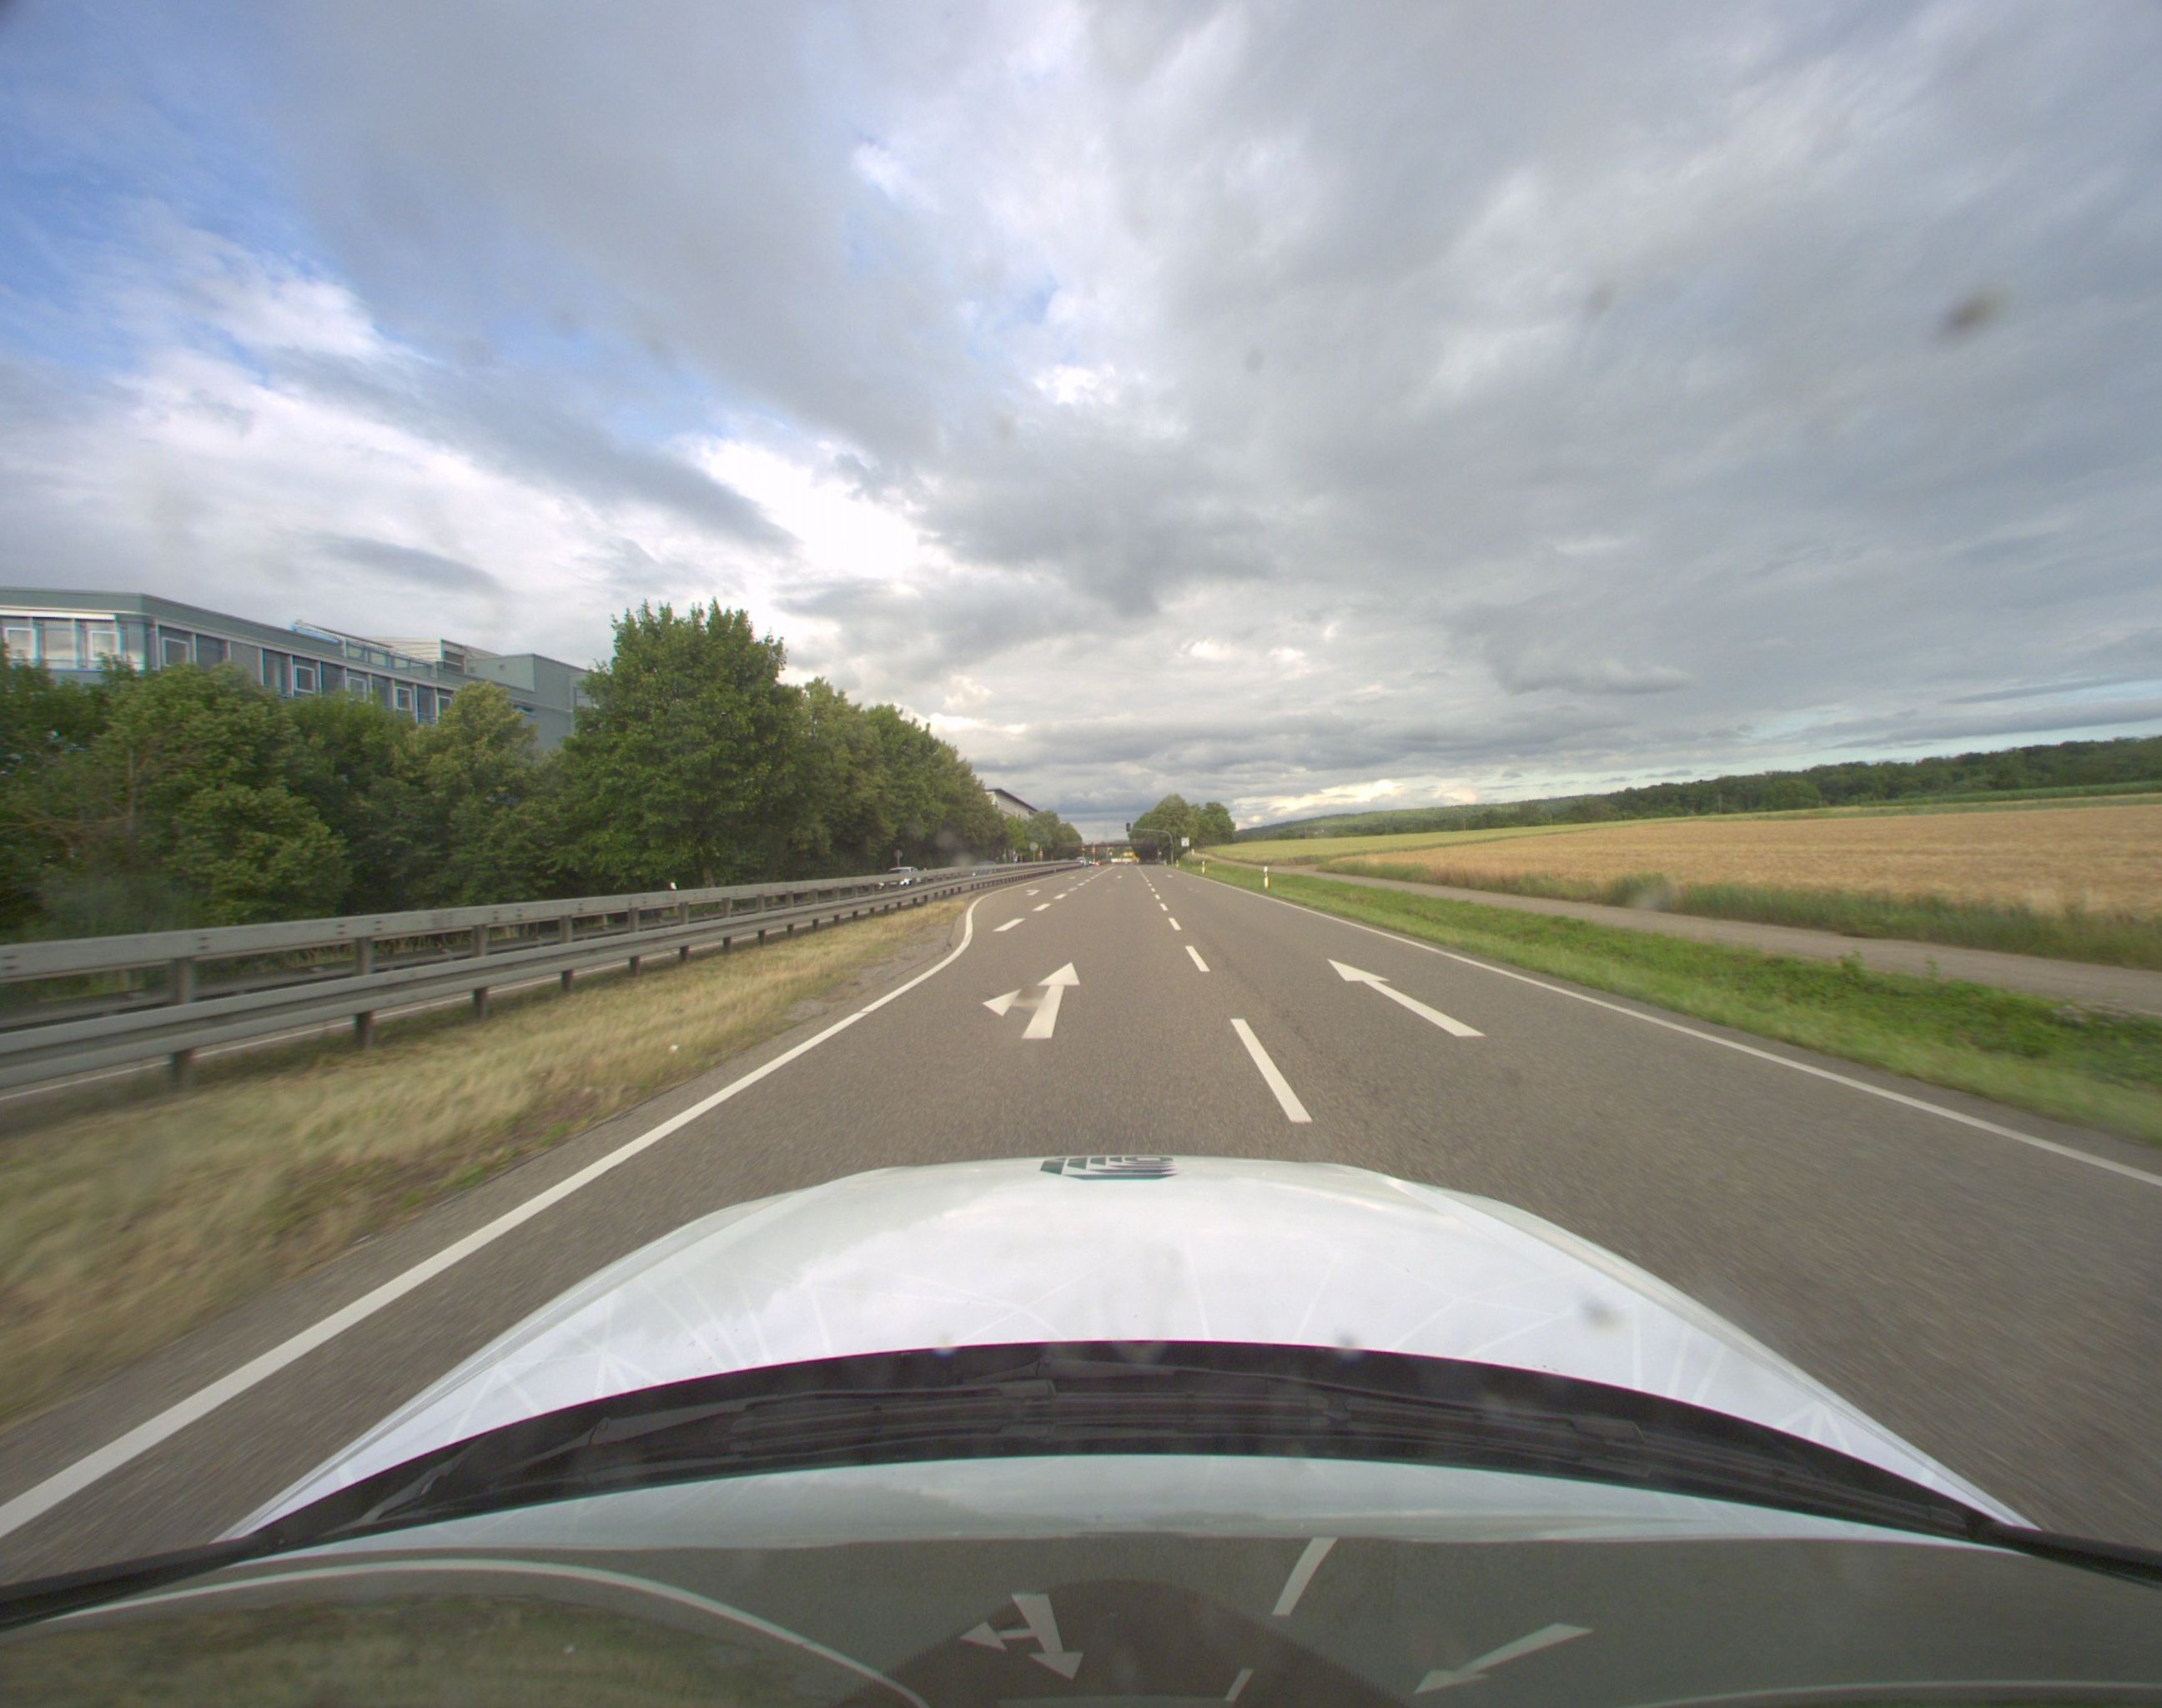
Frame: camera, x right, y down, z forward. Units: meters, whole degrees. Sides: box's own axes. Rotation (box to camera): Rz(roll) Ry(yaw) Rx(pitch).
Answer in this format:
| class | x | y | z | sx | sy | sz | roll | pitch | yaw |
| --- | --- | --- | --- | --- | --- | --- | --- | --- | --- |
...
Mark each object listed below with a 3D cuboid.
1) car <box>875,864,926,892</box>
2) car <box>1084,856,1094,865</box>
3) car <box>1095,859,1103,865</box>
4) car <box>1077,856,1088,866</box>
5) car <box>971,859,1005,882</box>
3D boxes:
| class | x | y | z | sx | sy | sz | roll | pitch | yaw |
| --- | --- | --- | --- | --- | --- | --- | --- | --- | --- |
| car | -10.471 | 1.388 | 47.635 | 1.752 | 1.413 | 4.462 | -2 | 0 | 3 |
| car | 1.716 | 1.316 | 178.462 | 1.985 | 1.873 | 4.741 | -2 | 0 | 3 |
| car | 3.442 | 1.540 | 158.188 | 1.351 | 1.092 | 2.925 | -2 | 0 | 4 |
| car | 0.313 | 1.398 | 160.352 | 1.940 | 1.873 | 4.741 | -2 | 0 | 3 |
| car | -6.529 | 1.160 | 57.537 | 1.762 | 1.468 | 3.715 | -2 | 0 | 3 |
